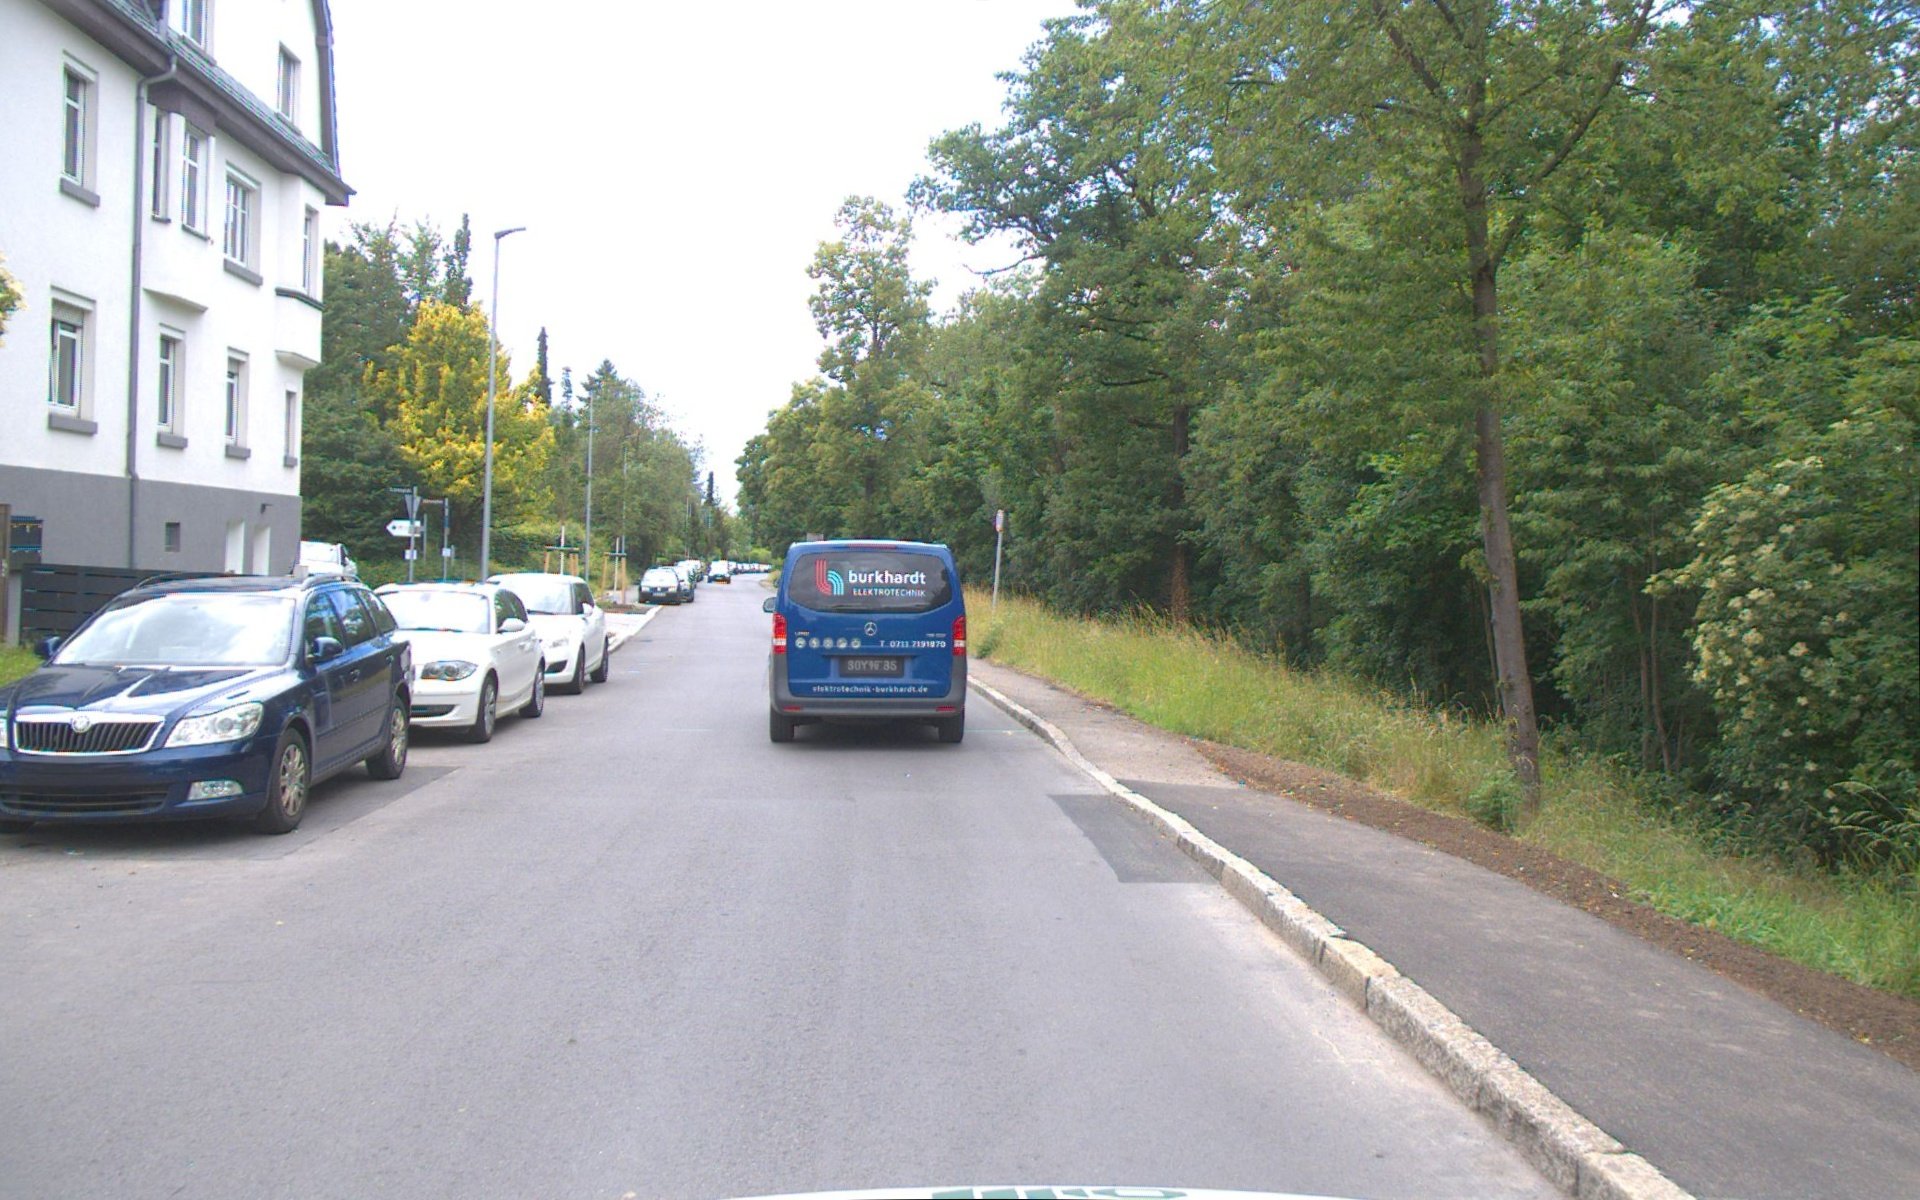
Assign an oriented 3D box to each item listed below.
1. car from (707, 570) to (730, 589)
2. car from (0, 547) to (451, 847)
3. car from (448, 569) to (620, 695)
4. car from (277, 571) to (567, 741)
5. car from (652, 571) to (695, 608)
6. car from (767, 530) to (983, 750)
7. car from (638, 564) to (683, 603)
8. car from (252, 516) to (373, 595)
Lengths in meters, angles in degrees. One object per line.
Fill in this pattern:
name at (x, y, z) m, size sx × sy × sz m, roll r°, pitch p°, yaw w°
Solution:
car at (-20.198, -1.750, 138.274) m, size 1.748 × 1.450 × 4.480 m, roll 4°, pitch 0°, yaw -10°
car at (-4.837, 0.485, 11.252) m, size 1.693 × 1.600 × 4.809 m, roll 1°, pitch 1°, yaw -6°
car at (-5.634, 0.358, 22.303) m, size 1.611 × 1.495 × 4.066 m, roll 2°, pitch 1°, yaw -6°
car at (-5.165, 0.489, 16.543) m, size 1.691 × 1.414 × 4.721 m, roll 2°, pitch 0°, yaw -5°
car at (-12.723, -0.500, 73.618) m, size 1.674 × 1.508 × 4.488 m, roll 2°, pitch 1°, yaw -8°
car at (-0.980, 0.283, 16.682) m, size 1.853 × 1.875 × 3.995 m, roll 2°, pitch 2°, yaw -7°
car at (-12.387, -0.689, 68.646) m, size 1.651 × 1.508 × 4.684 m, roll 2°, pitch 1°, yaw -9°
car at (-15.242, -0.997, 39.177) m, size 1.873 × 1.559 × 4.582 m, roll 6°, pitch -1°, yaw -13°
